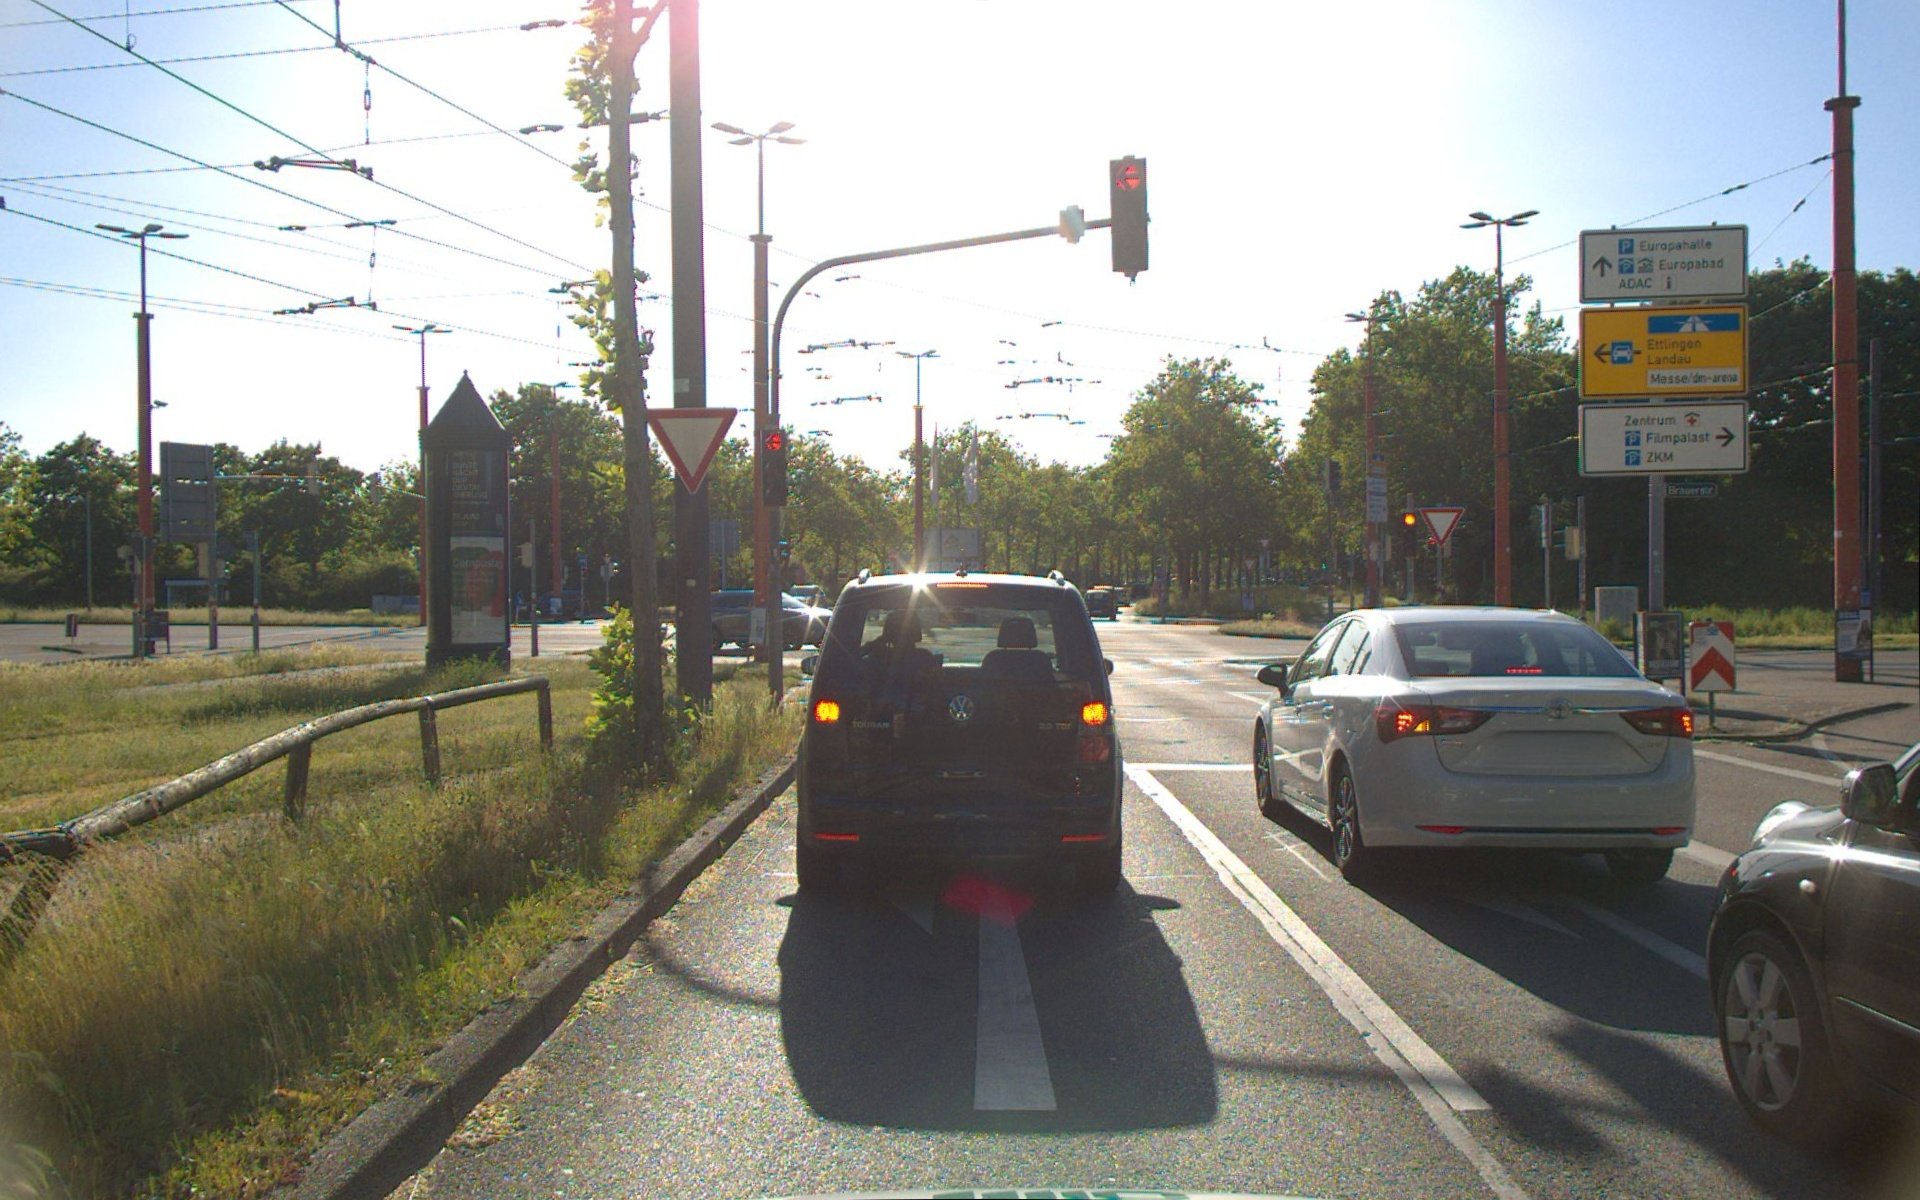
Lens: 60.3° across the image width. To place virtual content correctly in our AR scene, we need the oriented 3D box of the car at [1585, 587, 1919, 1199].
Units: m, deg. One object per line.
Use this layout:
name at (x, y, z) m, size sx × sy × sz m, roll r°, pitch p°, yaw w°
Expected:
car at (3.200, 0.732, 3.865) m, size 1.699 × 1.508 × 4.622 m, roll 0°, pitch 1°, yaw -1°

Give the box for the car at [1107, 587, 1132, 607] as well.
car at (12.243, -0.235, 126.947) m, size 1.752 × 1.412 × 4.052 m, roll 1°, pitch 1°, yaw 3°

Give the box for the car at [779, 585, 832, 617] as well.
car at (-8.733, 0.018, 93.887) m, size 1.861 × 1.756 × 4.658 m, roll 0°, pitch 1°, yaw 10°

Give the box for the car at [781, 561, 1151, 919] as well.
car at (0.014, 0.633, 10.238) m, size 1.731 × 1.672 × 4.923 m, roll 0°, pitch 1°, yaw 0°

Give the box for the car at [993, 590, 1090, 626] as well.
car at (3.441, 0.315, 69.504) m, size 4.015 × 1.412 × 1.768 m, roll 0°, pitch 1°, yaw -42°

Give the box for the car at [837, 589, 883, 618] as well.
car at (-5.487, 0.164, 91.289) m, size 1.730 × 1.565 × 4.095 m, roll 0°, pitch 1°, yaw 9°

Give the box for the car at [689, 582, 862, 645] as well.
car at (-5.309, 0.384, 47.556) m, size 4.584 × 1.734 × 1.999 m, roll 0°, pitch 0°, yaw 25°

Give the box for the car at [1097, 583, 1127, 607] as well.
car at (10.019, -0.349, 109.173) m, size 1.752 × 1.528 × 4.051 m, roll 1°, pitch 1°, yaw 2°

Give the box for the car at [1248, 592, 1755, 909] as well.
car at (2.986, 0.714, 10.136) m, size 1.731 × 1.489 × 4.367 m, roll 0°, pitch 1°, yaw 1°

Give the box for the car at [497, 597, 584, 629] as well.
car at (-24.366, 0.751, 96.108) m, size 4.585 × 1.756 × 1.891 m, roll -1°, pitch 1°, yaw -28°

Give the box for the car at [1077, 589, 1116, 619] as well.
car at (6.865, 0.193, 83.542) m, size 1.752 × 1.412 × 4.051 m, roll 1°, pitch 1°, yaw 2°
